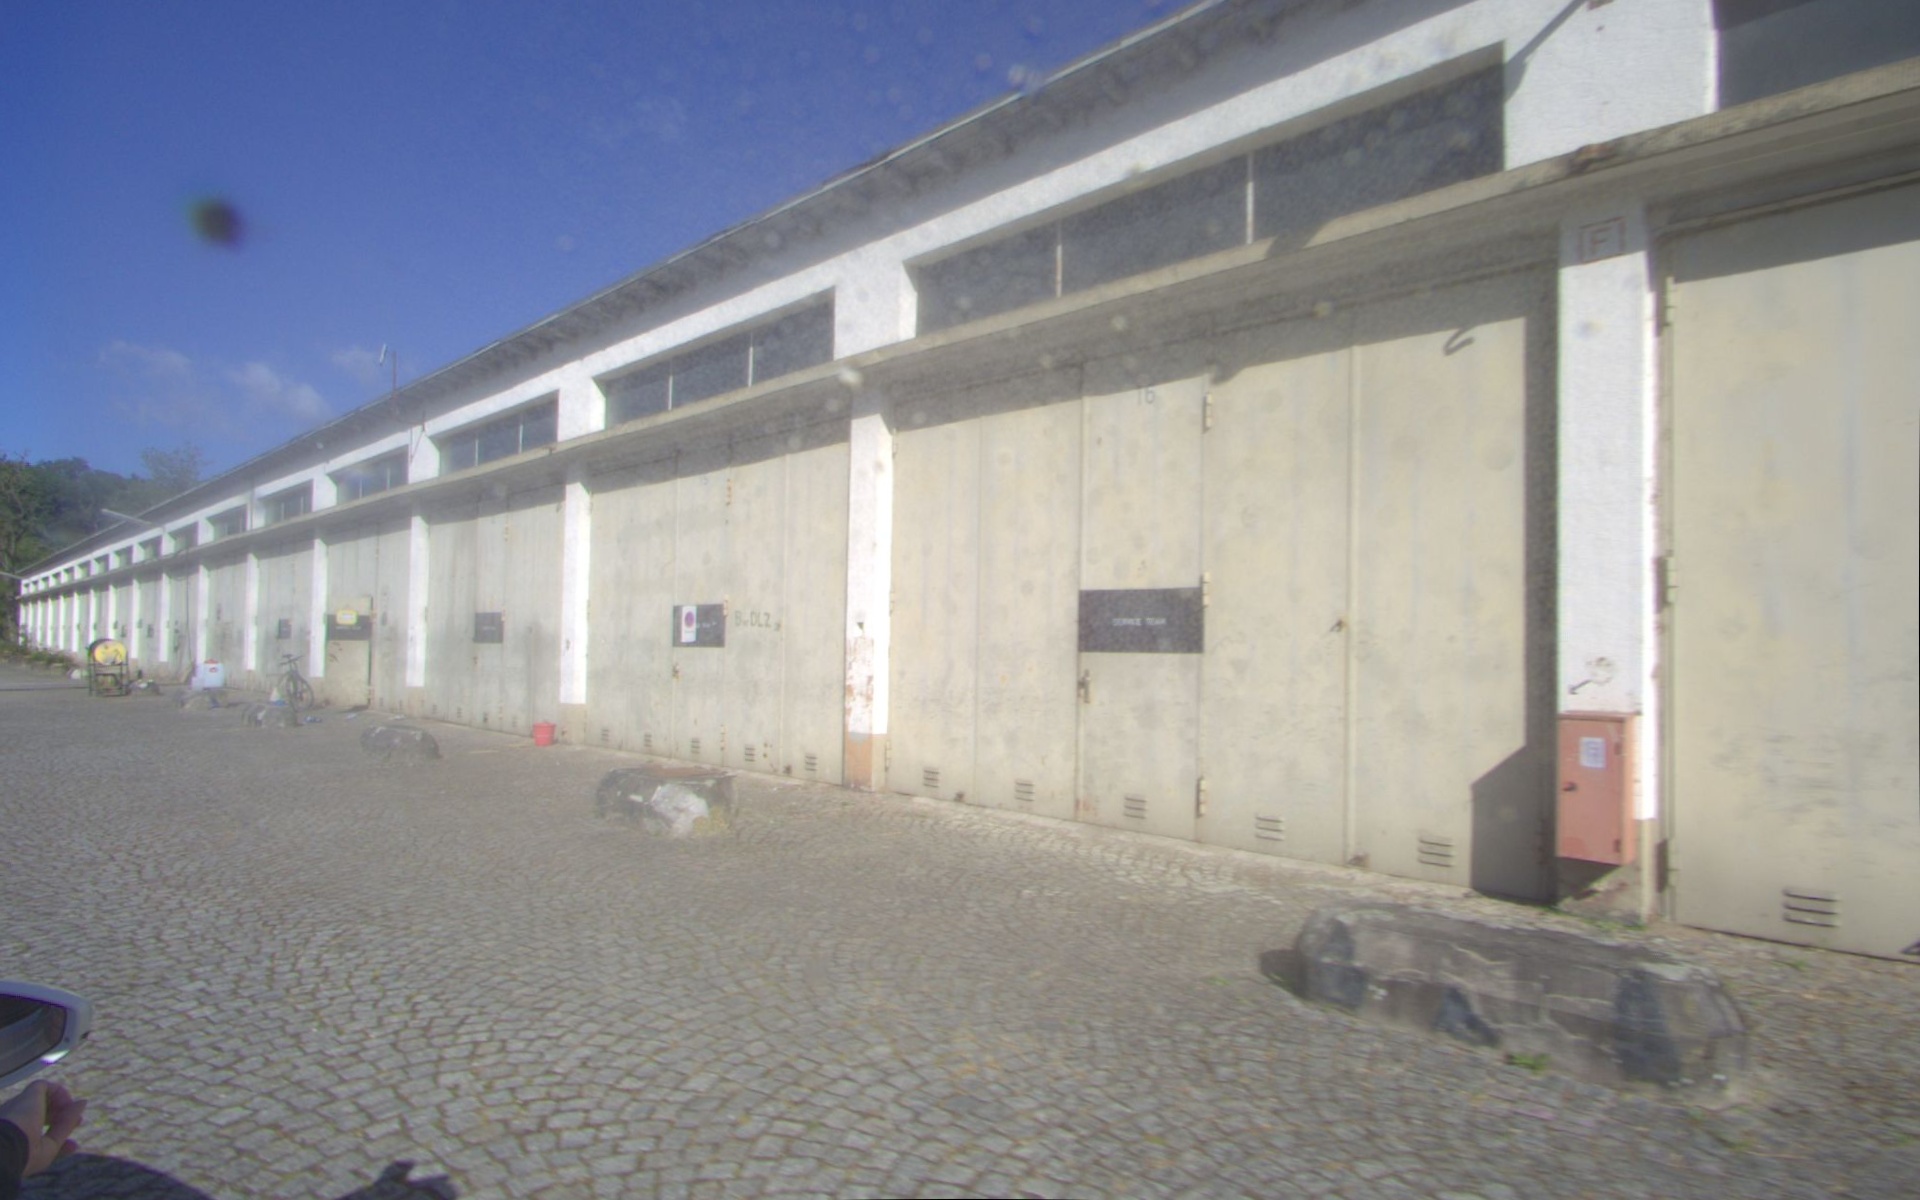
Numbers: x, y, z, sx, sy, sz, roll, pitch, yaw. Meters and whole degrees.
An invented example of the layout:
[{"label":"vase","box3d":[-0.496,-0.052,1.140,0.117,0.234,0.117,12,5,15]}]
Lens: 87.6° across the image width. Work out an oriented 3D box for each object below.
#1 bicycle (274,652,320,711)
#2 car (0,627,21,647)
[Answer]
[{"label":"bicycle","box3d":[-12.962,1.574,19.563,0.658,1.081,1.812,3,-4,-35]},{"label":"car","box3d":[-79.594,3.080,83.363,1.732,1.454,4.147,5,-3,-40]}]
